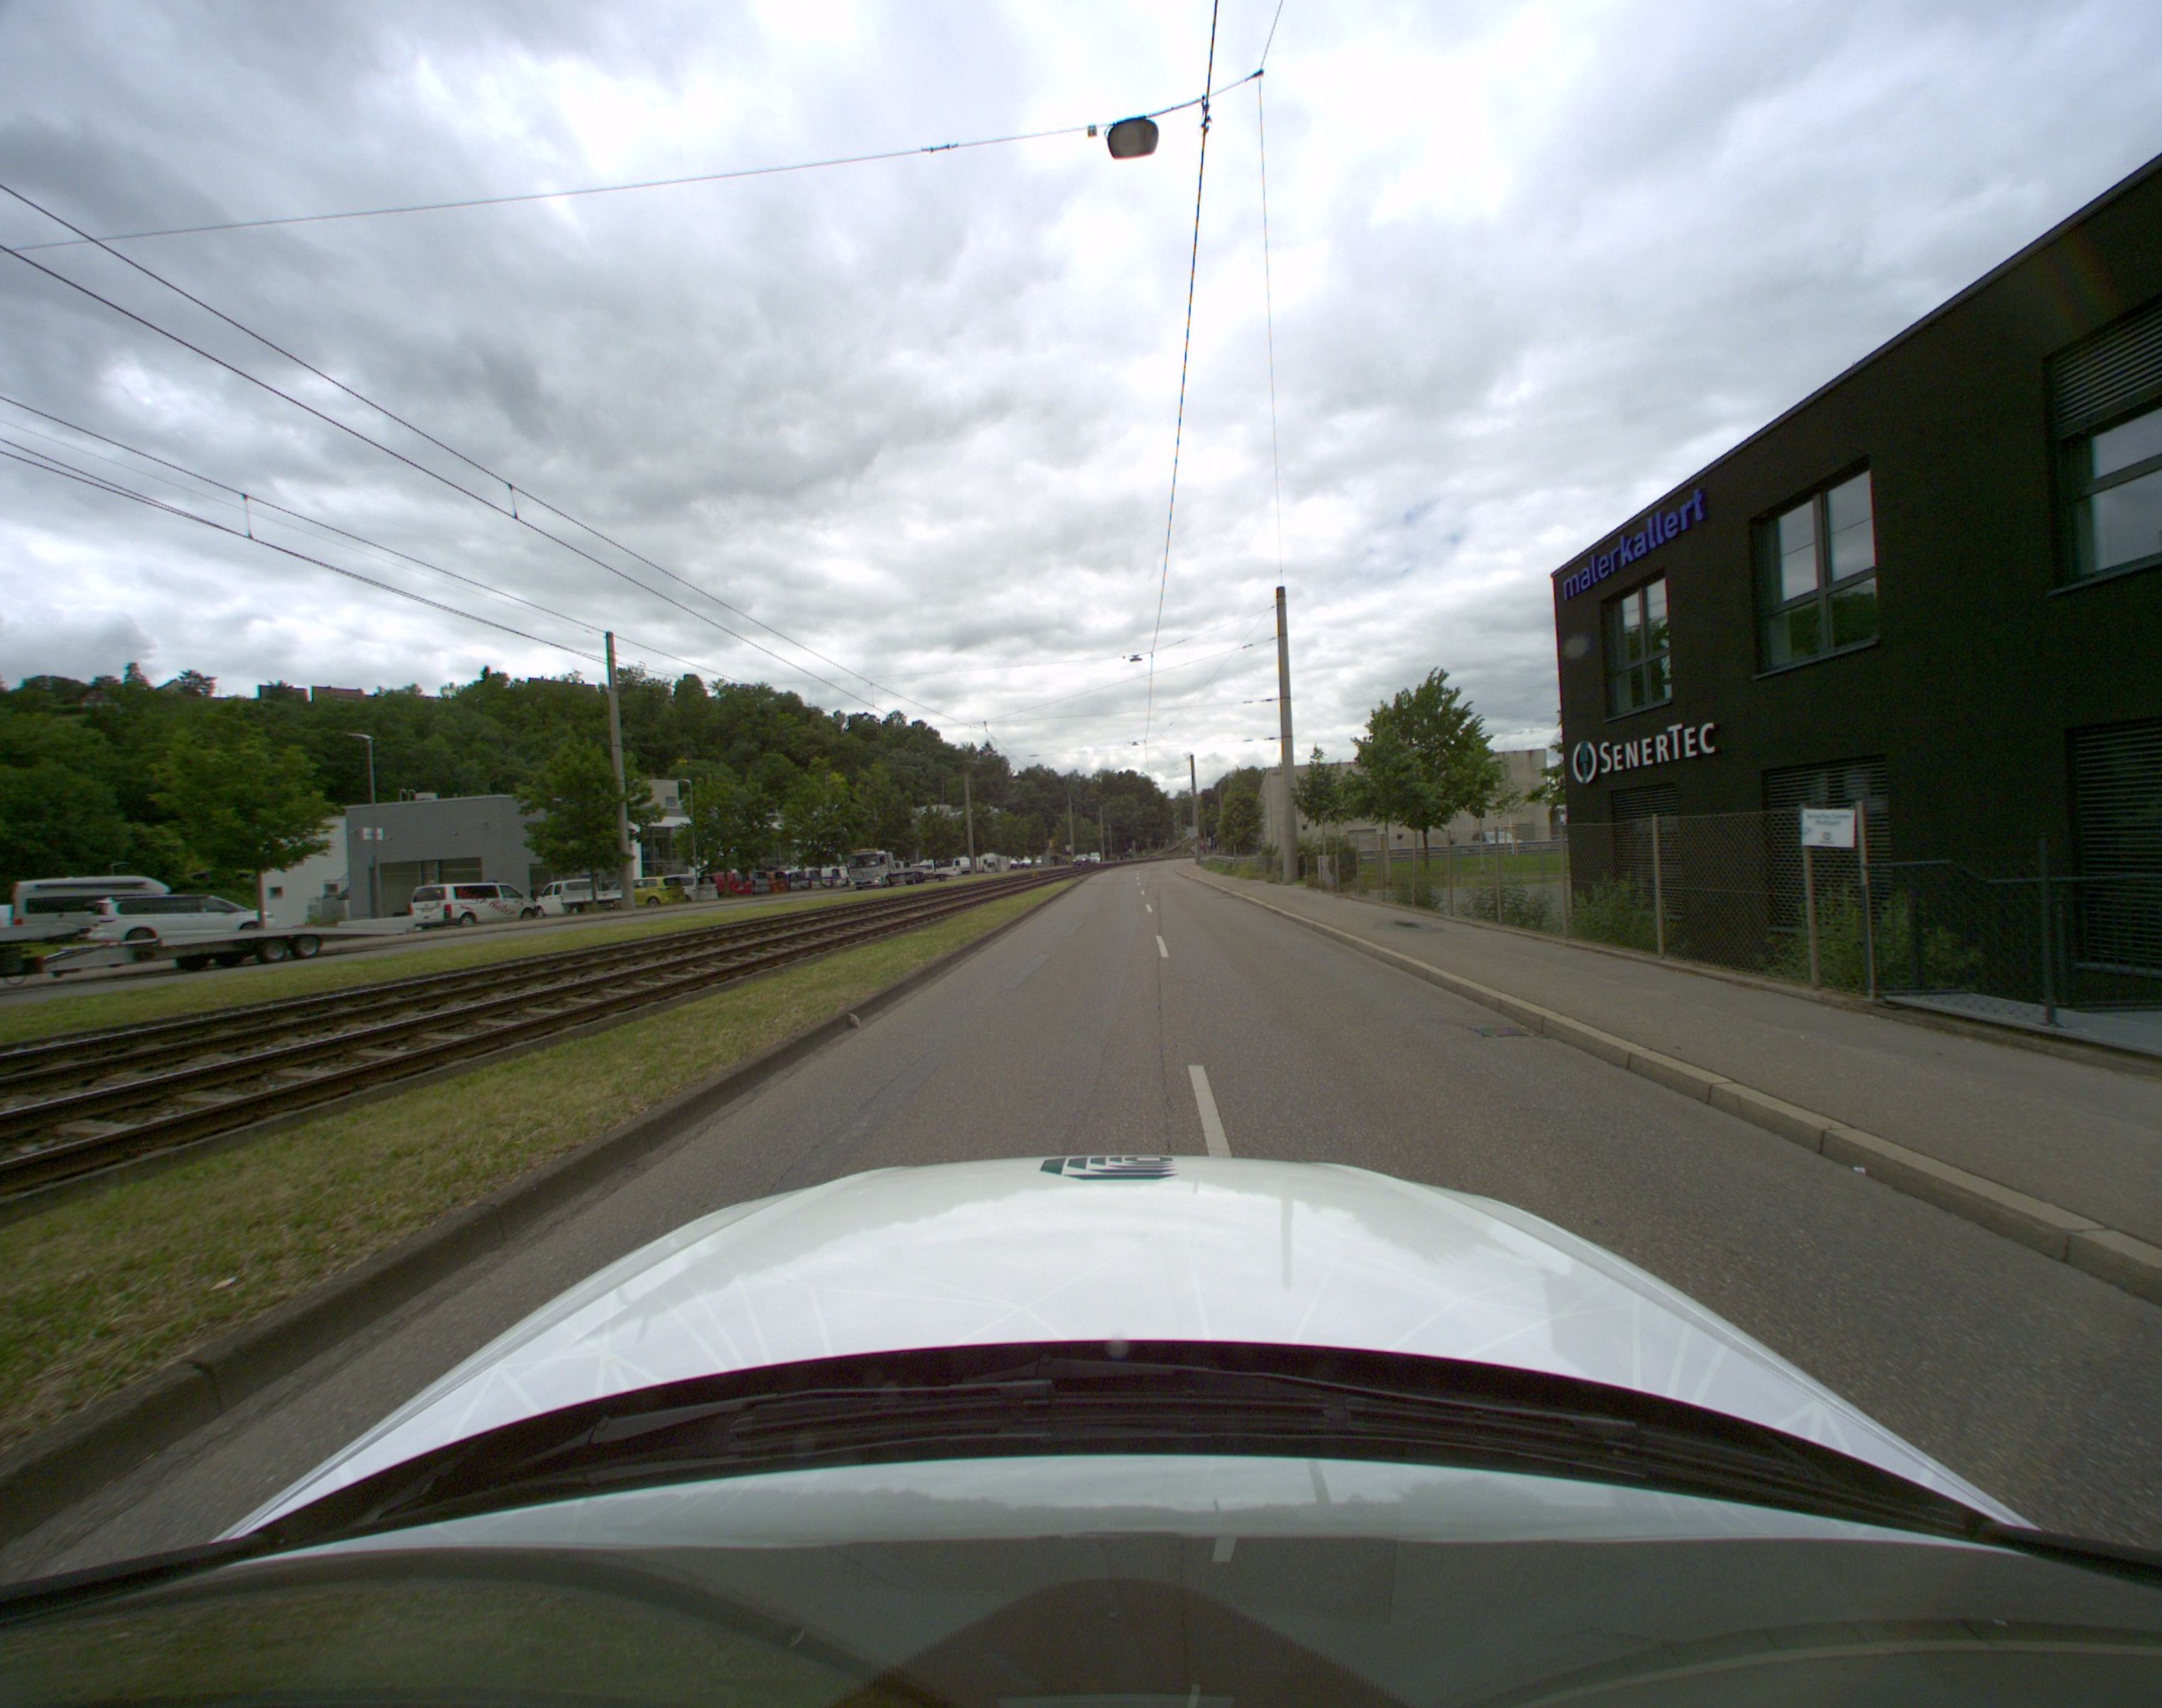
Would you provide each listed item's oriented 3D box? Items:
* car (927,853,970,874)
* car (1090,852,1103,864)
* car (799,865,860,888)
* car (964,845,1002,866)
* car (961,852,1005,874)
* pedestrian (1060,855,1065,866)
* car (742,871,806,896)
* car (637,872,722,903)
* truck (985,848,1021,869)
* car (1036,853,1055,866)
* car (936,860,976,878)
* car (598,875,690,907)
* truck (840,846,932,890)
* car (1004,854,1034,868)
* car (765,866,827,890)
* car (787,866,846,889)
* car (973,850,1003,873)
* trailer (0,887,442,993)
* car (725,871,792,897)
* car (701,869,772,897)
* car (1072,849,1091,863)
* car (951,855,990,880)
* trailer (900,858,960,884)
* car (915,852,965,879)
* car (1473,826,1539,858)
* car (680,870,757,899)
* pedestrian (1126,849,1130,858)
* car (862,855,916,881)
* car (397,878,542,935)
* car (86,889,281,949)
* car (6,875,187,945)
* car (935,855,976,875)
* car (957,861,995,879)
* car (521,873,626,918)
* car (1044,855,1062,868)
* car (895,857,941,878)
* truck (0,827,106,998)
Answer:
[{"bbox_3d":[-15.427,1.079,94.796,4.340,2.173,2.009,-3,0,9],"label":"car"},{"bbox_3d":[2.743,0.726,144.239,2.151,1.887,5.076,-2,1,2],"label":"car"},{"bbox_3d":[-20.941,1.878,67.881,4.334,1.618,2.012,-3,0,14],"label":"car"},{"bbox_3d":[-12.918,0.148,107.213,4.341,2.104,2.009,8,2,9],"label":"car"},{"bbox_3d":[-13.258,1.235,110.359,5.435,2.602,2.255,-3,0,13],"label":"car"},{"bbox_3d":[-2.836,0.944,124.571,0.714,1.655,1.044,-1,0,6],"label":"pedestrian"},{"bbox_3d":[-22.905,2.165,60.754,3.958,1.618,2.008,-3,0,14],"label":"car"},{"bbox_3d":[-24.867,2.069,50.502,4.314,1.618,2.128,-3,0,14],"label":"car"},{"bbox_3d":[-12.486,0.757,130.310,5.863,3.085,2.133,-3,0,42],"label":"truck"},{"bbox_3d":[-5.949,0.923,135.816,1.980,2.013,4.935,-3,0,11],"label":"car"},{"bbox_3d":[-15.419,1.883,100.247,4.340,1.910,2.009,-3,1,9],"label":"car"},{"bbox_3d":[-25.387,2.146,47.364,4.305,1.618,2.163,-3,0,14],"label":"car"},{"bbox_3d":[-13.935,0.881,59.253,2.739,2.741,9.246,-5,0,10],"label":"truck"},{"bbox_3d":[-10.098,1.136,132.376,4.670,2.013,2.013,-3,0,40],"label":"car"},{"bbox_3d":[-22.037,1.818,63.045,3.958,1.618,2.008,-3,0,14],"label":"car"},{"bbox_3d":[-21.337,1.880,65.705,3.958,1.618,2.008,-3,0,14],"label":"car"},{"bbox_3d":[-13.166,1.067,115.879,2.092,3.019,5.961,-3,0,15],"label":"car"},{"bbox_3d":[-19.771,1.838,19.360,2.743,1.495,7.240,-5,0,7],"label":"trailer"},{"bbox_3d":[-23.125,2.124,58.447,3.958,1.618,2.008,-3,0,14],"label":"car"},{"bbox_3d":[-23.594,1.989,55.778,3.958,1.664,2.056,-3,0,14],"label":"car"},{"bbox_3d":[0.029,0.350,113.729,1.983,1.739,4.542,-5,-1,7],"label":"car"},{"bbox_3d":[-13.889,1.667,102.453,4.340,2.819,2.009,-3,0,9],"label":"car"},{"bbox_3d":[-12.348,1.352,67.228,2.367,1.698,6.969,-5,-1,11],"label":"trailer"},{"bbox_3d":[-15.961,1.293,92.310,4.936,2.698,2.121,-3,0,9],"label":"car"},{"bbox_3d":[25.045,-0.691,48.200,1.901,1.720,4.699,-3,0,8],"label":"car"},{"bbox_3d":[-23.768,2.007,53.437,4.148,1.618,2.071,-3,0,14],"label":"car"},{"bbox_3d":[9.961,-0.115,173.430,0.623,1.713,0.859,-1,0,16],"label":"pedestrian"},{"bbox_3d":[-18.458,1.345,78.387,4.464,2.311,2.133,-3,0,14],"label":"car"},{"bbox_3d":[-25.953,2.180,34.835,1.982,2.013,4.872,-3,0,8],"label":"car"},{"bbox_3d":[-37.727,2.668,34.432,1.974,2.013,5.166,-3,0,30],"label":"car"},{"bbox_3d":[-44.030,2.450,36.570,1.974,2.705,4.892,-3,0,32],"label":"car"},{"bbox_3d":[-15.016,1.298,97.365,4.340,2.173,2.009,-3,0,9],"label":"car"},{"bbox_3d":[-13.488,2.037,104.849,4.340,2.105,2.009,-3,0,9],"label":"car"},{"bbox_3d":[-26.177,2.170,41.945,5.641,2.008,2.157,-4,0,30],"label":"car"},{"bbox_3d":[-4.824,1.344,141.675,1.980,2.013,5.146,-3,0,12],"label":"car"},{"bbox_3d":[-17.657,1.428,88.414,4.340,2.010,2.009,-3,0,9],"label":"car"},{"bbox_3d":[-20.720,1.167,11.543,2.848,2.981,8.472,-5,0,7],"label":"truck"}]
